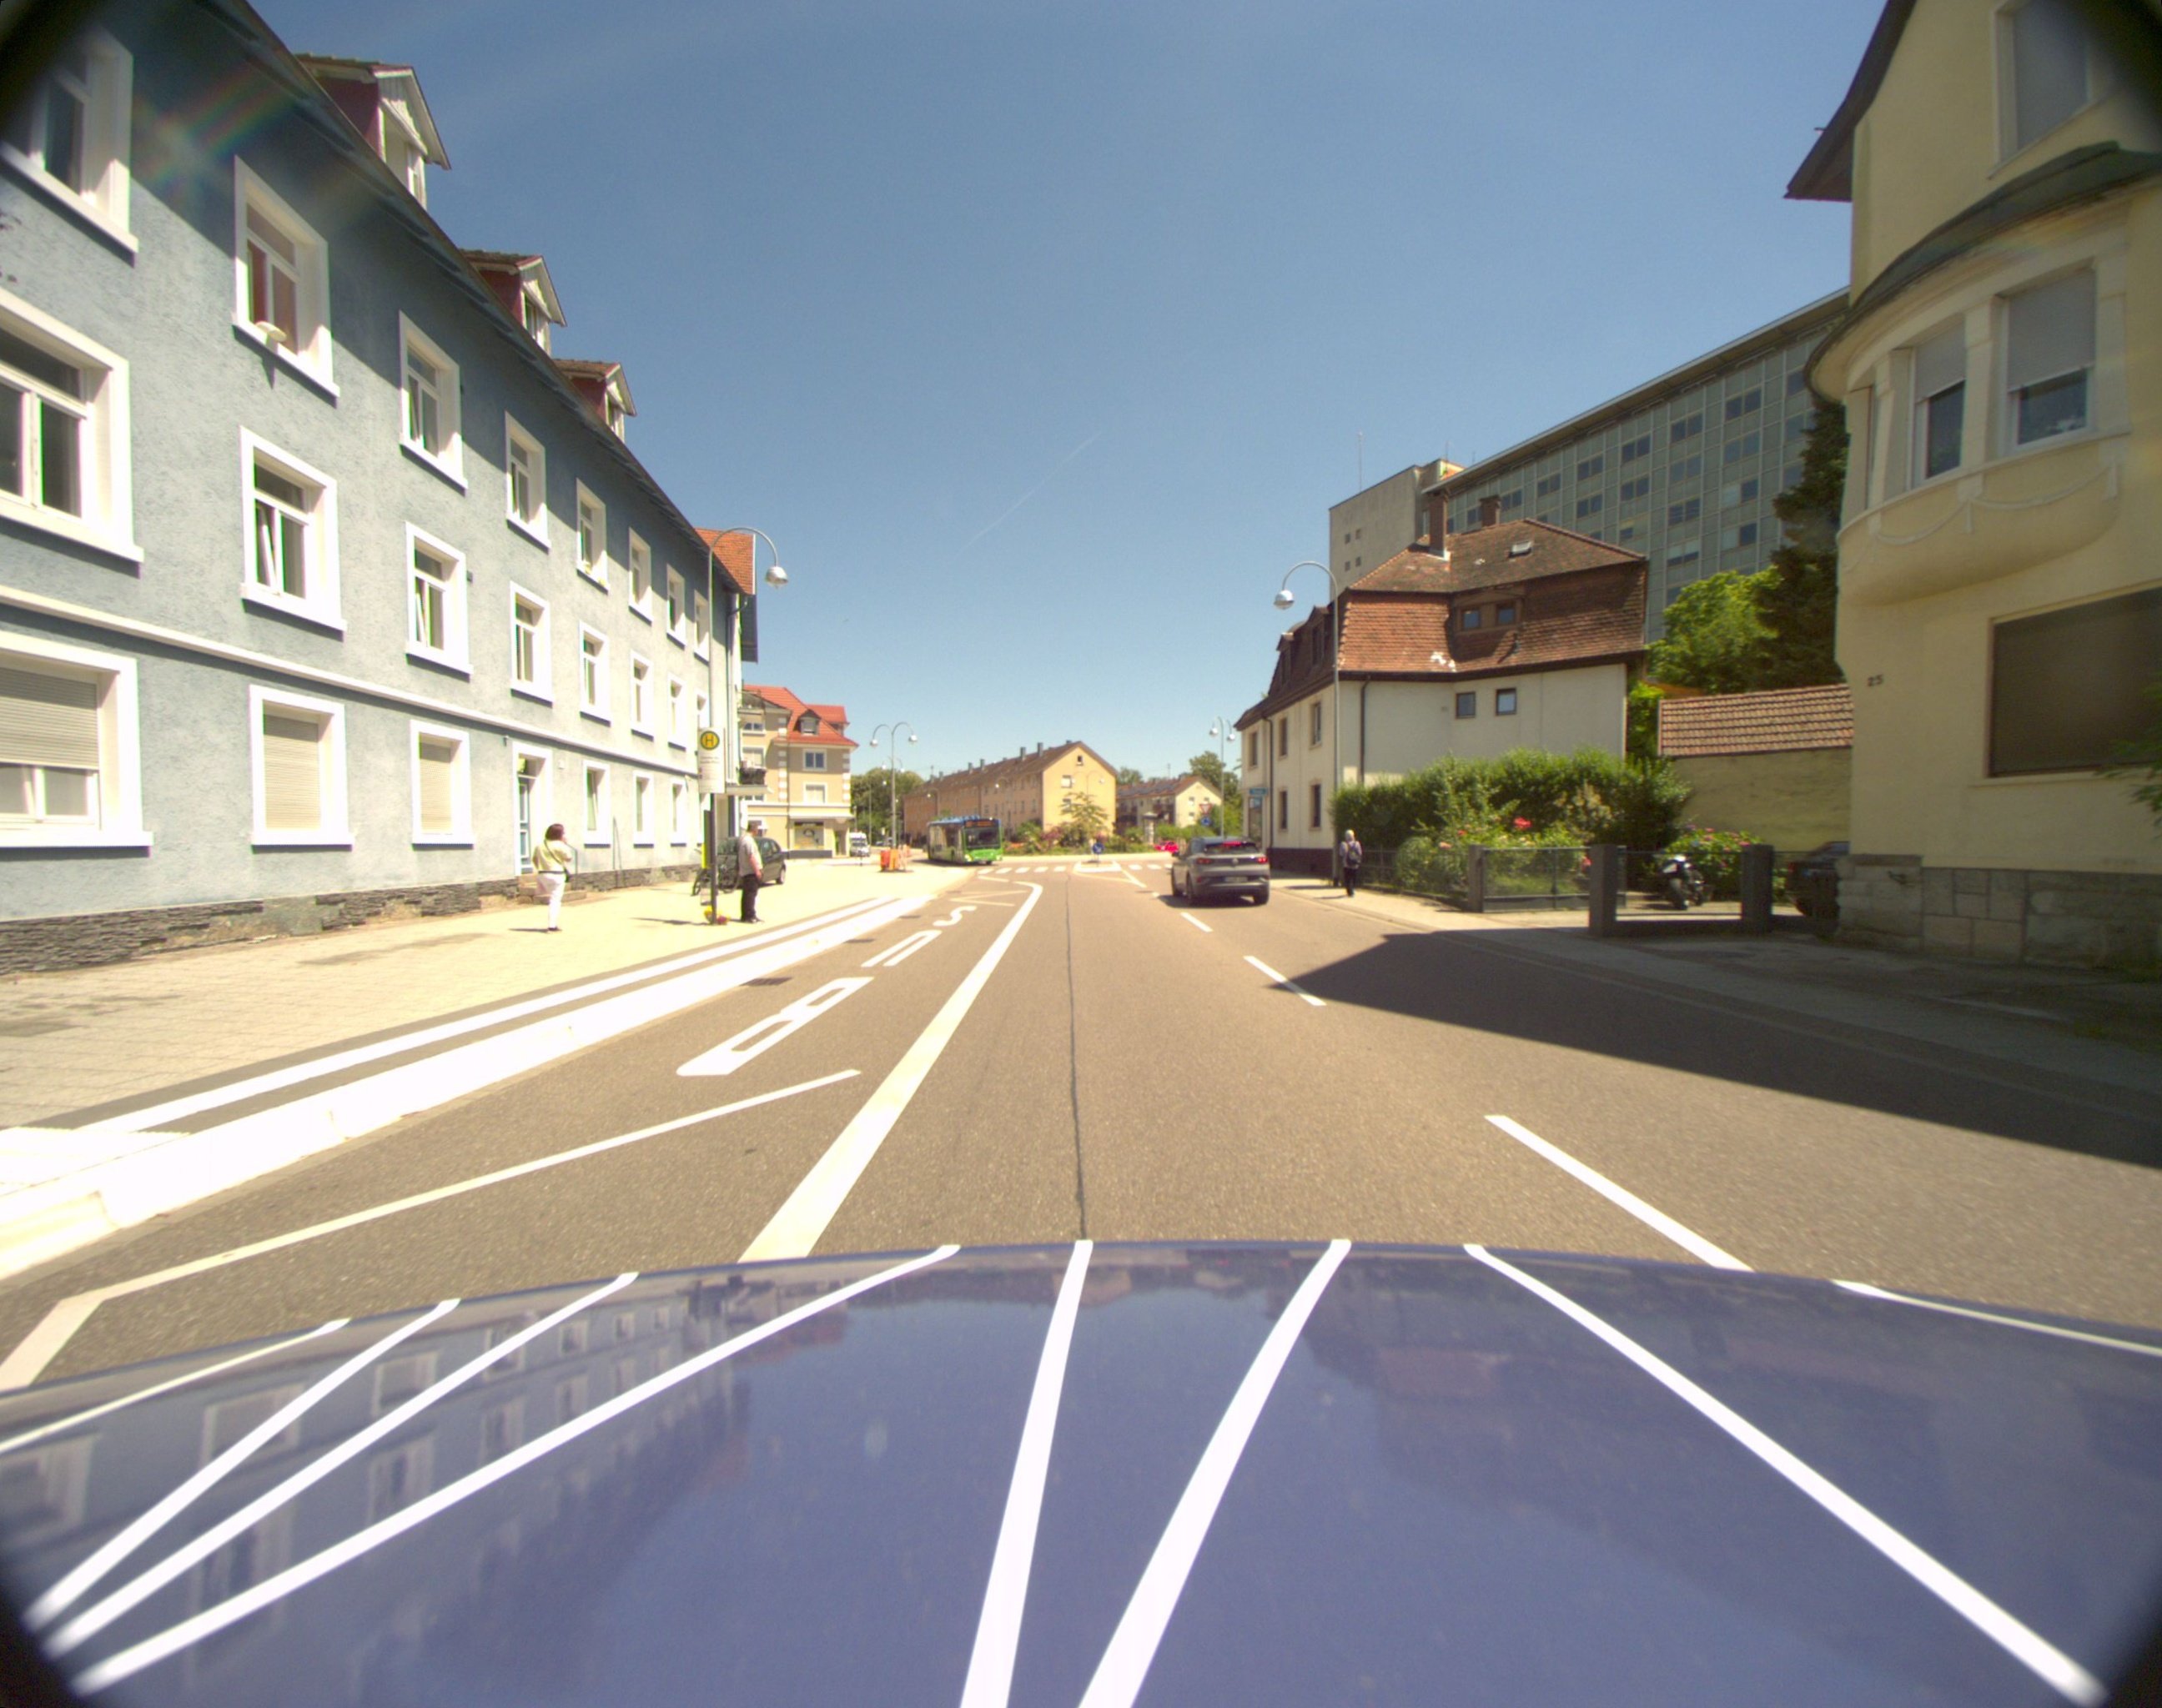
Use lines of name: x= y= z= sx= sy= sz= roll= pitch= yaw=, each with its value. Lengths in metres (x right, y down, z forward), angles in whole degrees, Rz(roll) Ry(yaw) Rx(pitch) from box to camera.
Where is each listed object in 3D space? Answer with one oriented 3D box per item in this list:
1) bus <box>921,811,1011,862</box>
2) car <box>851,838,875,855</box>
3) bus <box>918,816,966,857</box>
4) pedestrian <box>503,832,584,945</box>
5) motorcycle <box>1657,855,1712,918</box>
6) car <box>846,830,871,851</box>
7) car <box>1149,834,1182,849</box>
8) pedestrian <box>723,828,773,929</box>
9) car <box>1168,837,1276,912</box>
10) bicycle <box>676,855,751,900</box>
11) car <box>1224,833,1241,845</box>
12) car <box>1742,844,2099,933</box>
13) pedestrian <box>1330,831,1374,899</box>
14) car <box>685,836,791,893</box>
bus: x=-8.204 y=-1.119 z=52.241 sx=2.916 sy=3.063 sz=12.536 roll=-2 pitch=1 yaw=-23
car: x=-20.476 y=-0.706 z=71.186 sx=1.829 sy=1.403 sz=3.991 roll=1 pitch=2 yaw=-21
bus: x=-11.461 y=-1.390 z=63.931 sx=2.930 sy=3.044 sz=12.553 roll=-2 pitch=1 yaw=-6
pedestrian: x=-8.041 y=0.495 z=11.392 sx=0.615 sy=1.607 sz=0.751 roll=2 pitch=2 yaw=9
motorcycle: x=11.993 y=0.598 z=15.082 sx=0.714 sy=1.099 sz=2.149 roll=1 pitch=2 yaw=42
car: x=-27.250 y=-1.636 z=92.846 sx=2.345 sy=2.442 sz=5.722 roll=1 pitch=1 yaw=-22
car: x=9.190 y=-1.343 z=82.028 sx=1.731 sy=1.592 sz=3.944 roll=0 pitch=2 yaw=37
pedestrian: x=-6.077 y=0.439 z=13.898 sx=0.751 sy=1.795 sz=0.614 roll=3 pitch=2 yaw=-21
car: x=3.362 y=0.411 z=18.939 sx=1.858 sy=1.607 sz=4.295 roll=-1 pitch=2 yaw=0
bicycle: x=-9.171 y=0.558 z=19.060 sx=0.632 sy=1.033 sz=1.885 roll=3 pitch=1 yaw=12
car: x=18.001 y=-1.815 z=90.107 sx=1.728 sy=1.288 sz=4.003 roll=-1 pitch=1 yaw=14
car: x=14.065 y=0.529 z=12.923 sx=3.997 sy=1.372 sz=1.867 roll=0 pitch=1 yaw=-1
pedestrian: x=6.494 y=0.253 z=18.239 sx=0.615 sy=1.556 sz=0.824 roll=-6 pitch=2 yaw=-3
car: x=-10.250 y=0.245 z=23.008 sx=1.763 sy=1.505 sz=3.738 roll=3 pitch=1 yaw=-6
